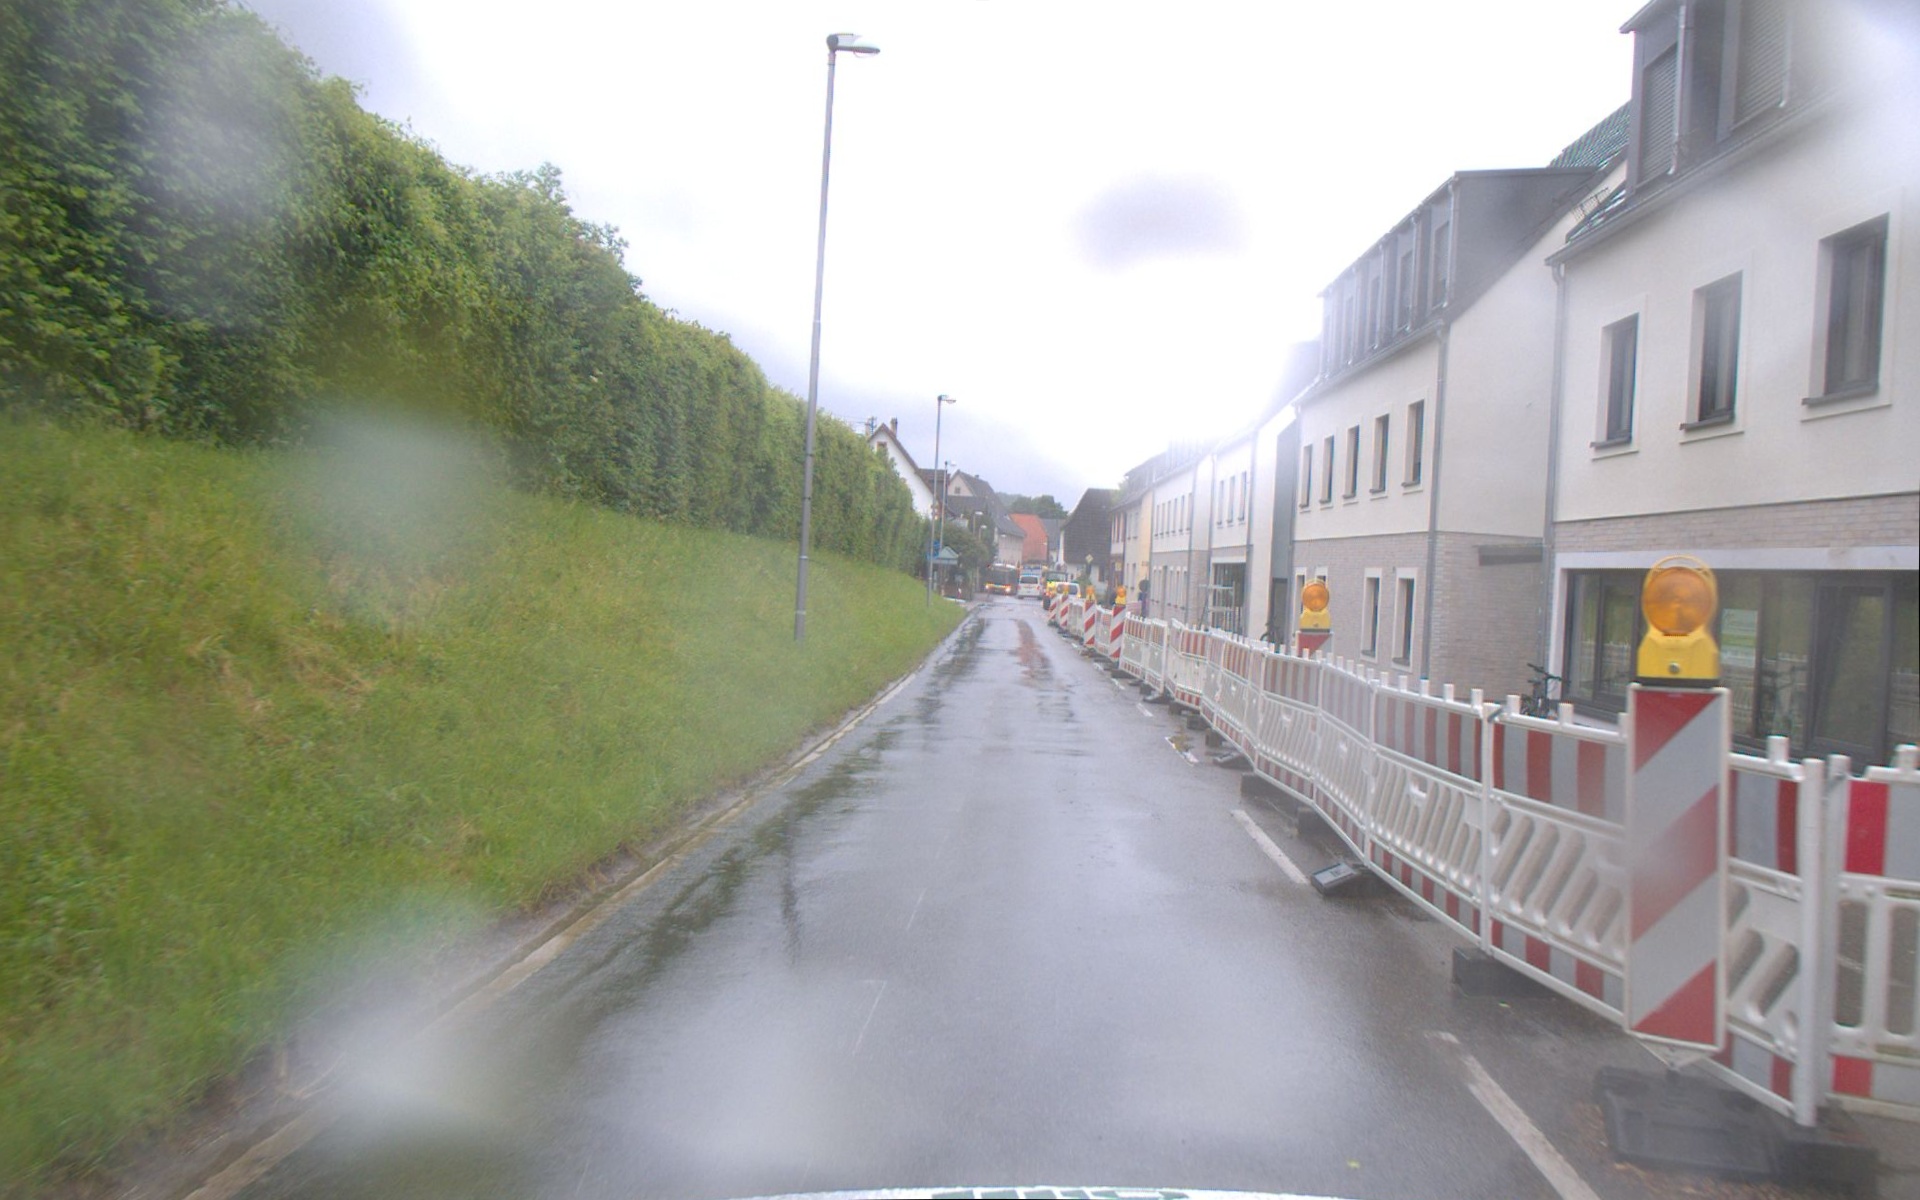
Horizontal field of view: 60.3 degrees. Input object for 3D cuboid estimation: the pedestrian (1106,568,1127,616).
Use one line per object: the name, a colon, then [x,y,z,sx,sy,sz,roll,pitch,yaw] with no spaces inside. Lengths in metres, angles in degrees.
pedestrian: [6.005,-0.303,63.420,0.652,1.786,0.812,-2,0,0]

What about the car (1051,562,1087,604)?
car: [6.587,-1.044,100.588,1.952,2.416,4.097,-2,0,2]

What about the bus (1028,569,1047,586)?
bus: [7.719,-2.225,164.438,1.757,1.434,4.002,4,0,4]

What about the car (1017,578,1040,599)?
car: [5.605,-0.963,136.579,1.780,1.670,4.097,-2,1,2]

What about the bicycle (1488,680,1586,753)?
bicycle: [6.806,1.357,19.578,0.486,0.709,1.739,-2,1,-1]

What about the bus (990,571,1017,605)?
bus: [4.395,-1.162,166.230,2.195,3.156,7.033,4,0,3]
